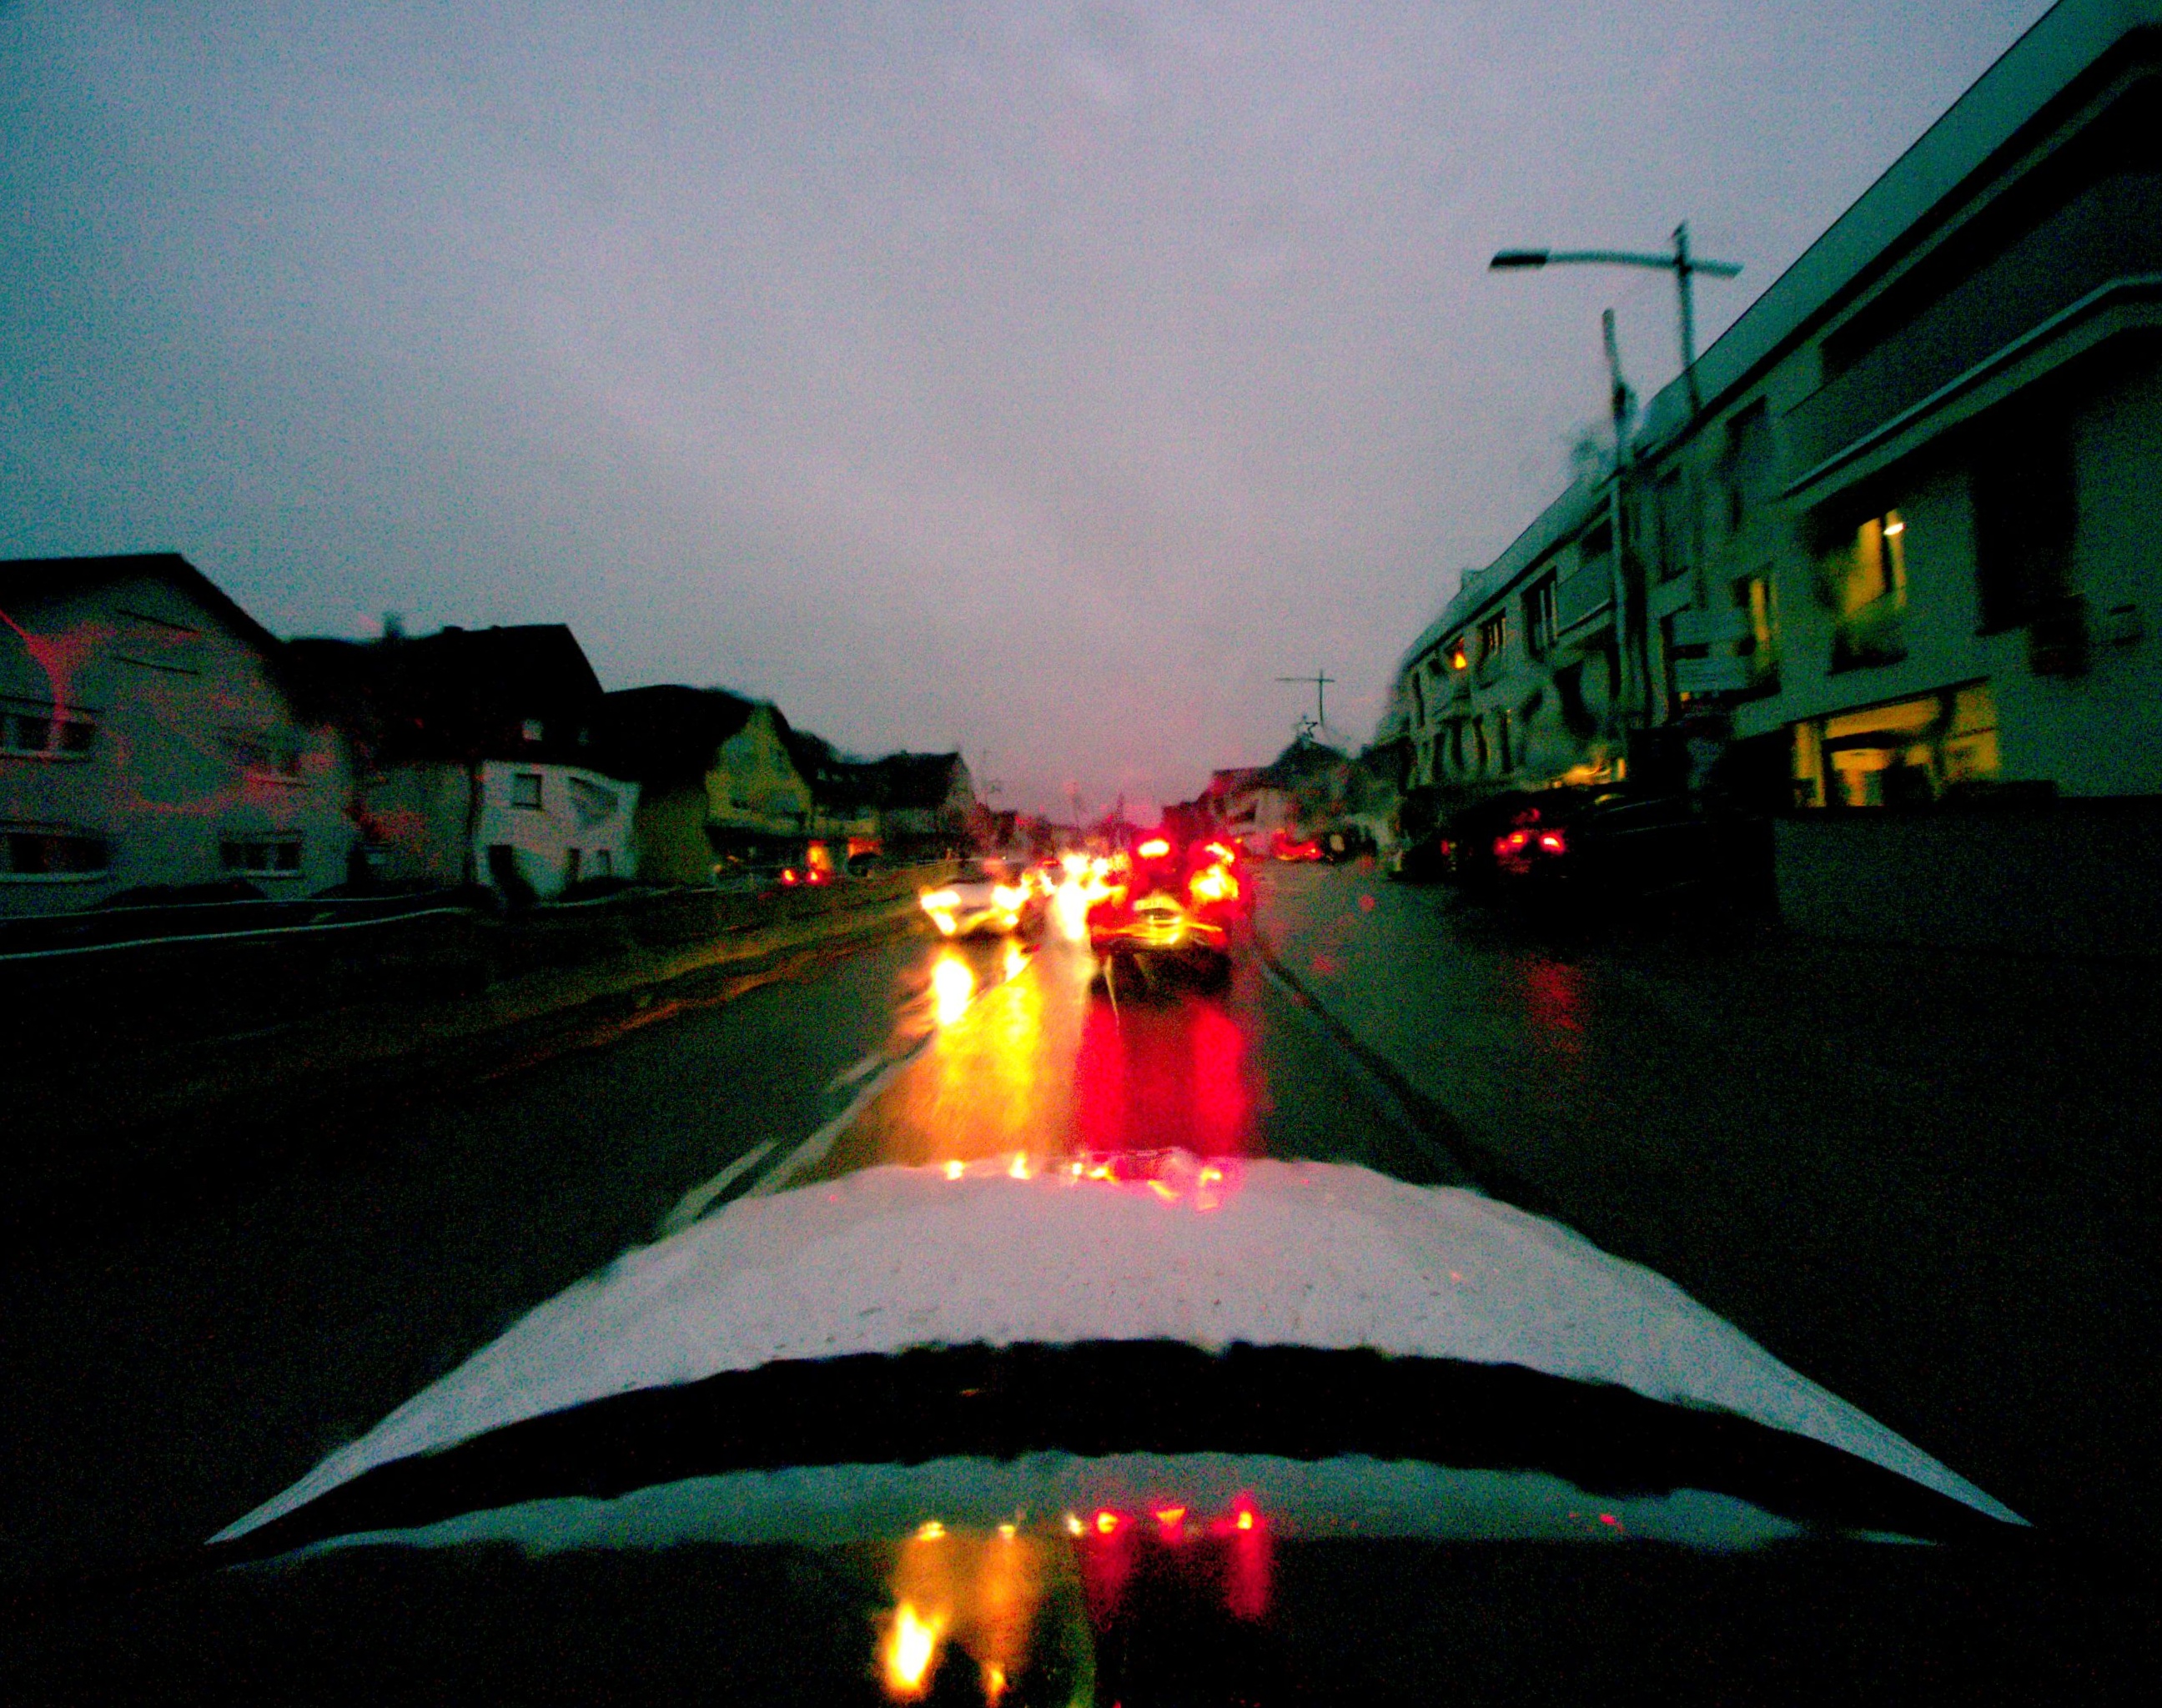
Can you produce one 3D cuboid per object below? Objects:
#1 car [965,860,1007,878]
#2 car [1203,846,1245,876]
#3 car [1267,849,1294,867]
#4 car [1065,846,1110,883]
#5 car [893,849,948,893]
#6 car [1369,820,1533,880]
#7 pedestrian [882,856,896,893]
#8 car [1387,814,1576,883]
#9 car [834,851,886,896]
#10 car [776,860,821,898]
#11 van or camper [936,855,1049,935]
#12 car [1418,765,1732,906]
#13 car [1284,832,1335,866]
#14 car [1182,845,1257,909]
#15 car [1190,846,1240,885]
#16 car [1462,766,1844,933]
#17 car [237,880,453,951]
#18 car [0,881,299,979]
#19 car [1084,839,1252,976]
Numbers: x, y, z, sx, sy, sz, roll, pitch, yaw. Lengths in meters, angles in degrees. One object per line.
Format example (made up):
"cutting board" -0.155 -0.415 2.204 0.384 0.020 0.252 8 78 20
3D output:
"car" -7.814 1.263 67.543 1.978 1.418 4.017 -1 -1 17
"car" 7.403 0.335 42.472 1.983 1.391 4.009 -2 0 7
"car" 17.239 0.359 70.556 1.558 1.413 3.605 -6 -1 4
"car" 0.355 0.463 39.574 1.728 1.653 4.007 -3 0 6
"car" -7.749 0.791 39.066 2.044 1.925 4.030 -2 0 -19
"car" 11.410 -0.110 25.309 4.189 1.460 1.794 -5 -1 2
"pedestrian" -9.108 0.955 38.650 0.497 1.701 0.708 -4 0 -19
"car" 10.814 -0.139 22.230 4.189 1.460 1.794 -5 -1 2
"car" -10.438 0.893 38.357 2.044 1.925 4.030 -2 0 -19
"car" -13.332 1.141 38.533 1.827 1.613 4.030 -2 0 -19
"van or camper" -1.677 0.758 16.503 1.554 1.355 3.427 -3 0 5
"car" 9.165 -0.302 15.505 4.540 1.920 1.953 -8 -2 6
"car" 15.480 -0.384 55.034 2.137 1.991 4.528 -6 -1 30
"car" 3.554 0.536 21.132 1.673 1.453 4.010 -2 0 9
"car" 5.295 0.405 32.264 1.804 1.412 4.010 -1 1 9
"car" 8.160 -0.065 11.915 4.163 1.638 1.804 -9 0 0
"car" -20.197 1.618 22.647 1.901 1.562 4.224 -2 0 5
"car" -20.499 1.570 18.162 1.903 1.682 4.219 -2 0 2
"car" 1.340 0.616 11.780 1.953 1.594 4.324 -1 0 8
